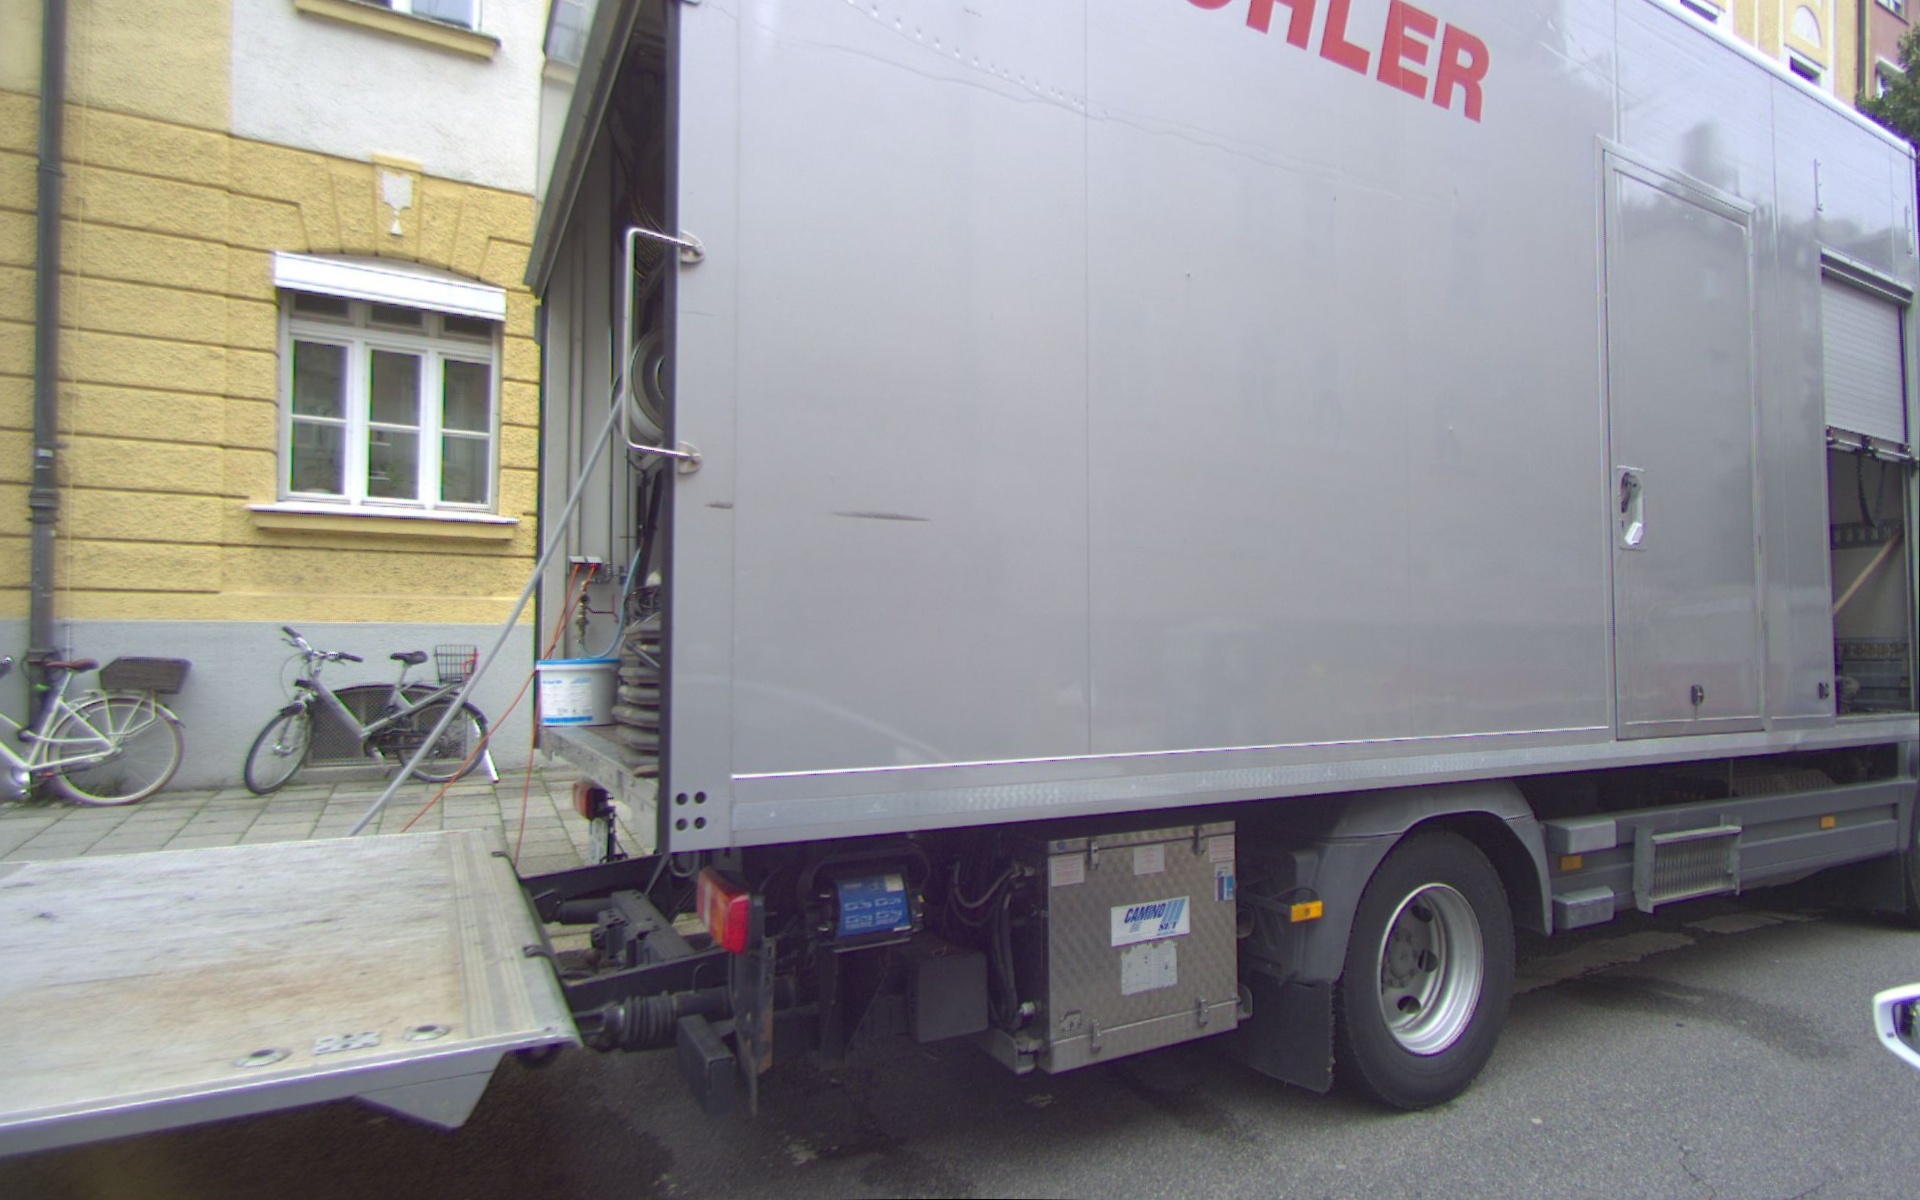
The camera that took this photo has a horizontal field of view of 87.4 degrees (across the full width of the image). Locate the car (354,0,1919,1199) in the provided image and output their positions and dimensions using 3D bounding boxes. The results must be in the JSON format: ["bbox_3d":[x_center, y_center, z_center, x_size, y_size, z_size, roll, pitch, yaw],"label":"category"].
[{"bbox_3d":[2.213,-0.358,4.890,8.615,3.868,2.801,2,-1,-29],"label":"car"}]

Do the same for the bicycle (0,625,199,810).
[{"bbox_3d":[-6.044,0.738,6.460,1.745,1.119,0.504,2,2,-29],"label":"bicycle"}]

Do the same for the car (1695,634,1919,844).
[{"bbox_3d":[8.046,1.032,8.309,3.659,1.428,1.694,2,-1,-26],"label":"car"}]

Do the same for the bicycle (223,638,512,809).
[{"bbox_3d":[-4.292,0.863,7.410,1.745,1.119,0.605,2,-1,-29],"label":"bicycle"}]
